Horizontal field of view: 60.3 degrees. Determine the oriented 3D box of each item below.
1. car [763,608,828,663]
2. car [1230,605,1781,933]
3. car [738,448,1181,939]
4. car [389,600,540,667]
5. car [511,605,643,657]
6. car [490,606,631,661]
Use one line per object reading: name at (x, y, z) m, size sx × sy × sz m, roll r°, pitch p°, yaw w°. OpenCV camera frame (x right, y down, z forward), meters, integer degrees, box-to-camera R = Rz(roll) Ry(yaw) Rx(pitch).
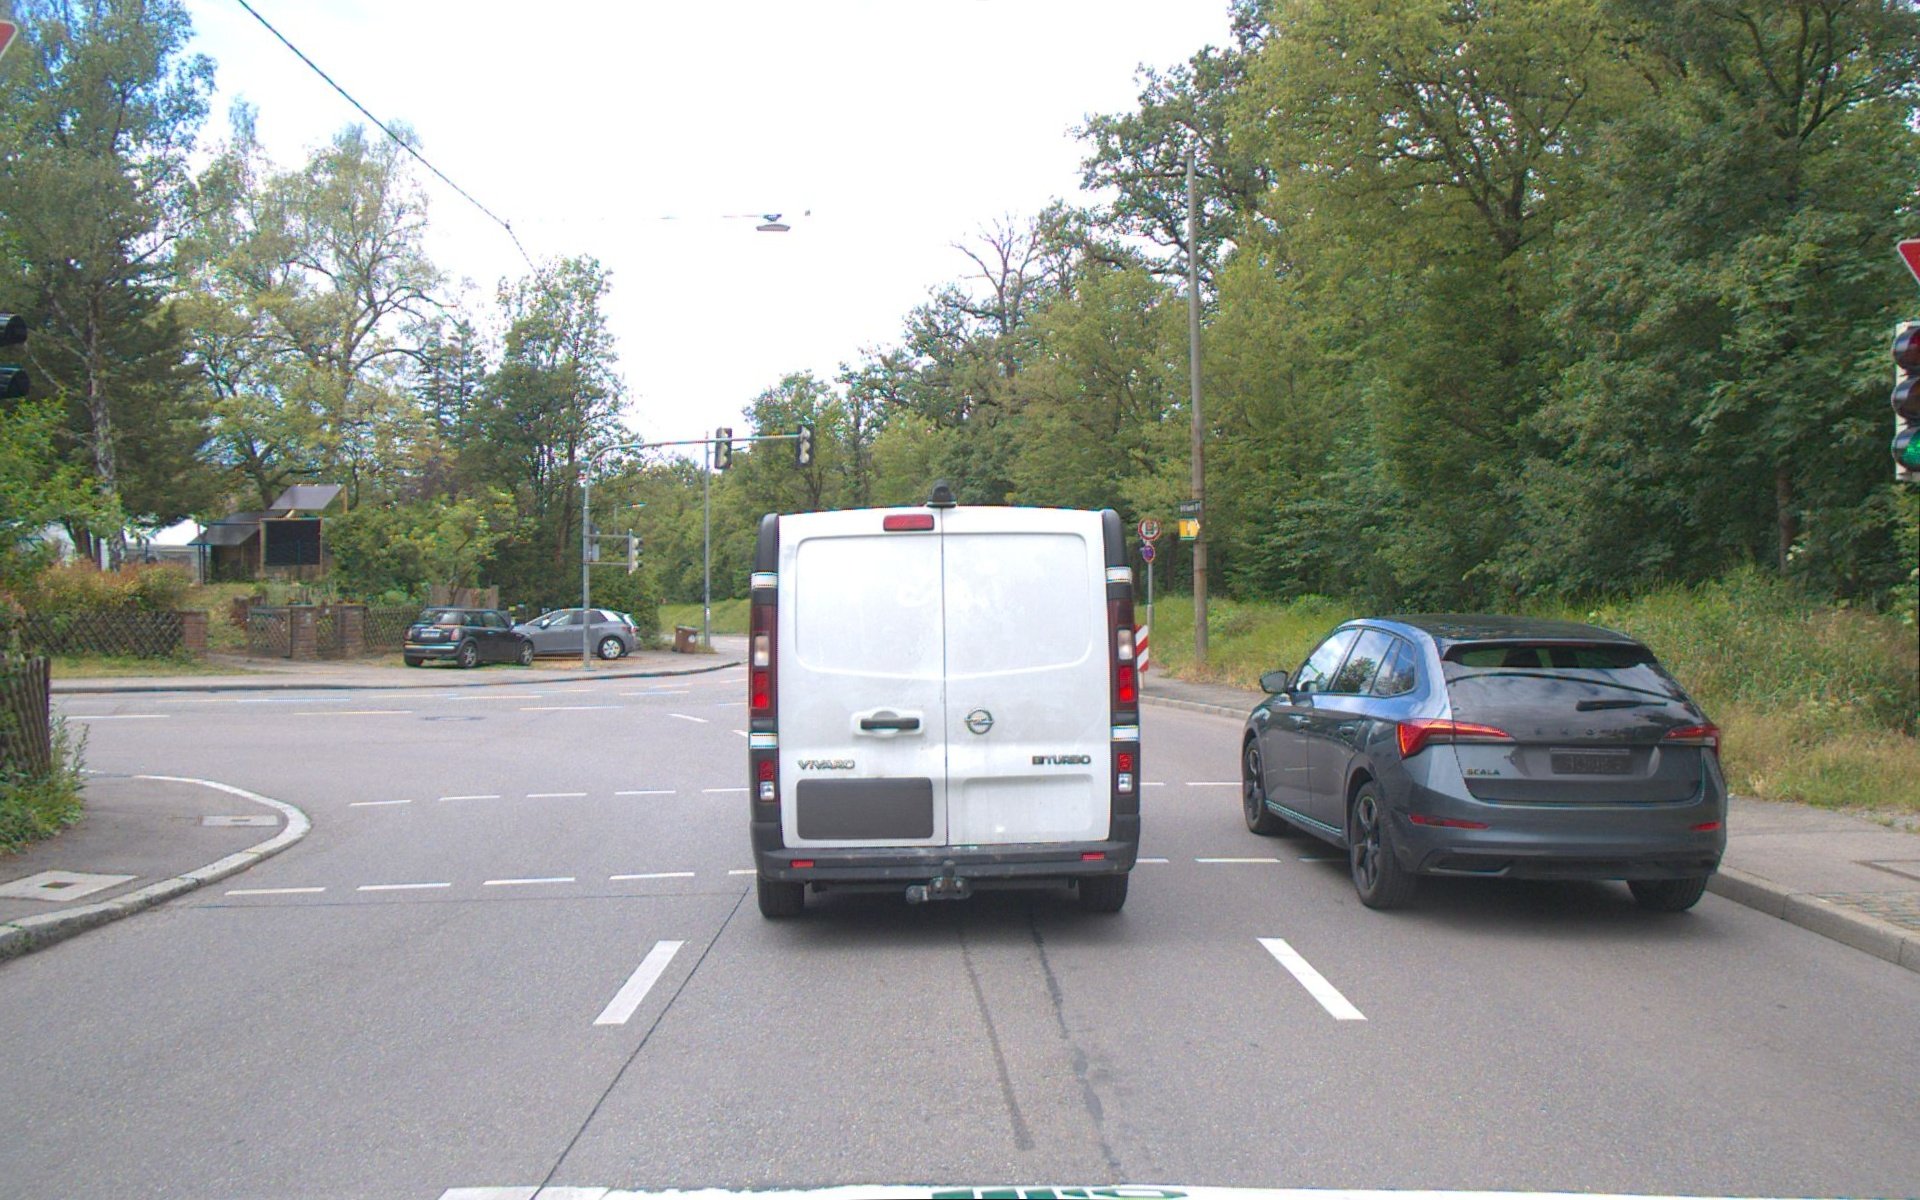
car at (-4.790, 1.005, 48.521) m, size 1.820 × 1.533 × 3.996 m, roll 0°, pitch 0°, yaw -5°
car at (2.820, 0.772, 9.534) m, size 1.756 × 1.476 × 3.998 m, roll 0°, pitch 0°, yaw -2°
car at (-0.103, 0.414, 9.487) m, size 1.878 × 2.089 × 4.611 m, roll 1°, pitch 0°, yaw -3°
car at (-11.839, 0.800, 39.733) m, size 1.662 × 1.474 × 3.544 m, roll 2°, pitch 0°, yaw 19°
car at (-12.288, 0.980, 52.999) m, size 4.022 × 1.580 × 1.845 m, roll 0°, pitch 0°, yaw -18°
car at (-12.087, 0.982, 49.989) m, size 4.022 × 1.580 × 1.845 m, roll 0°, pitch 0°, yaw -18°
